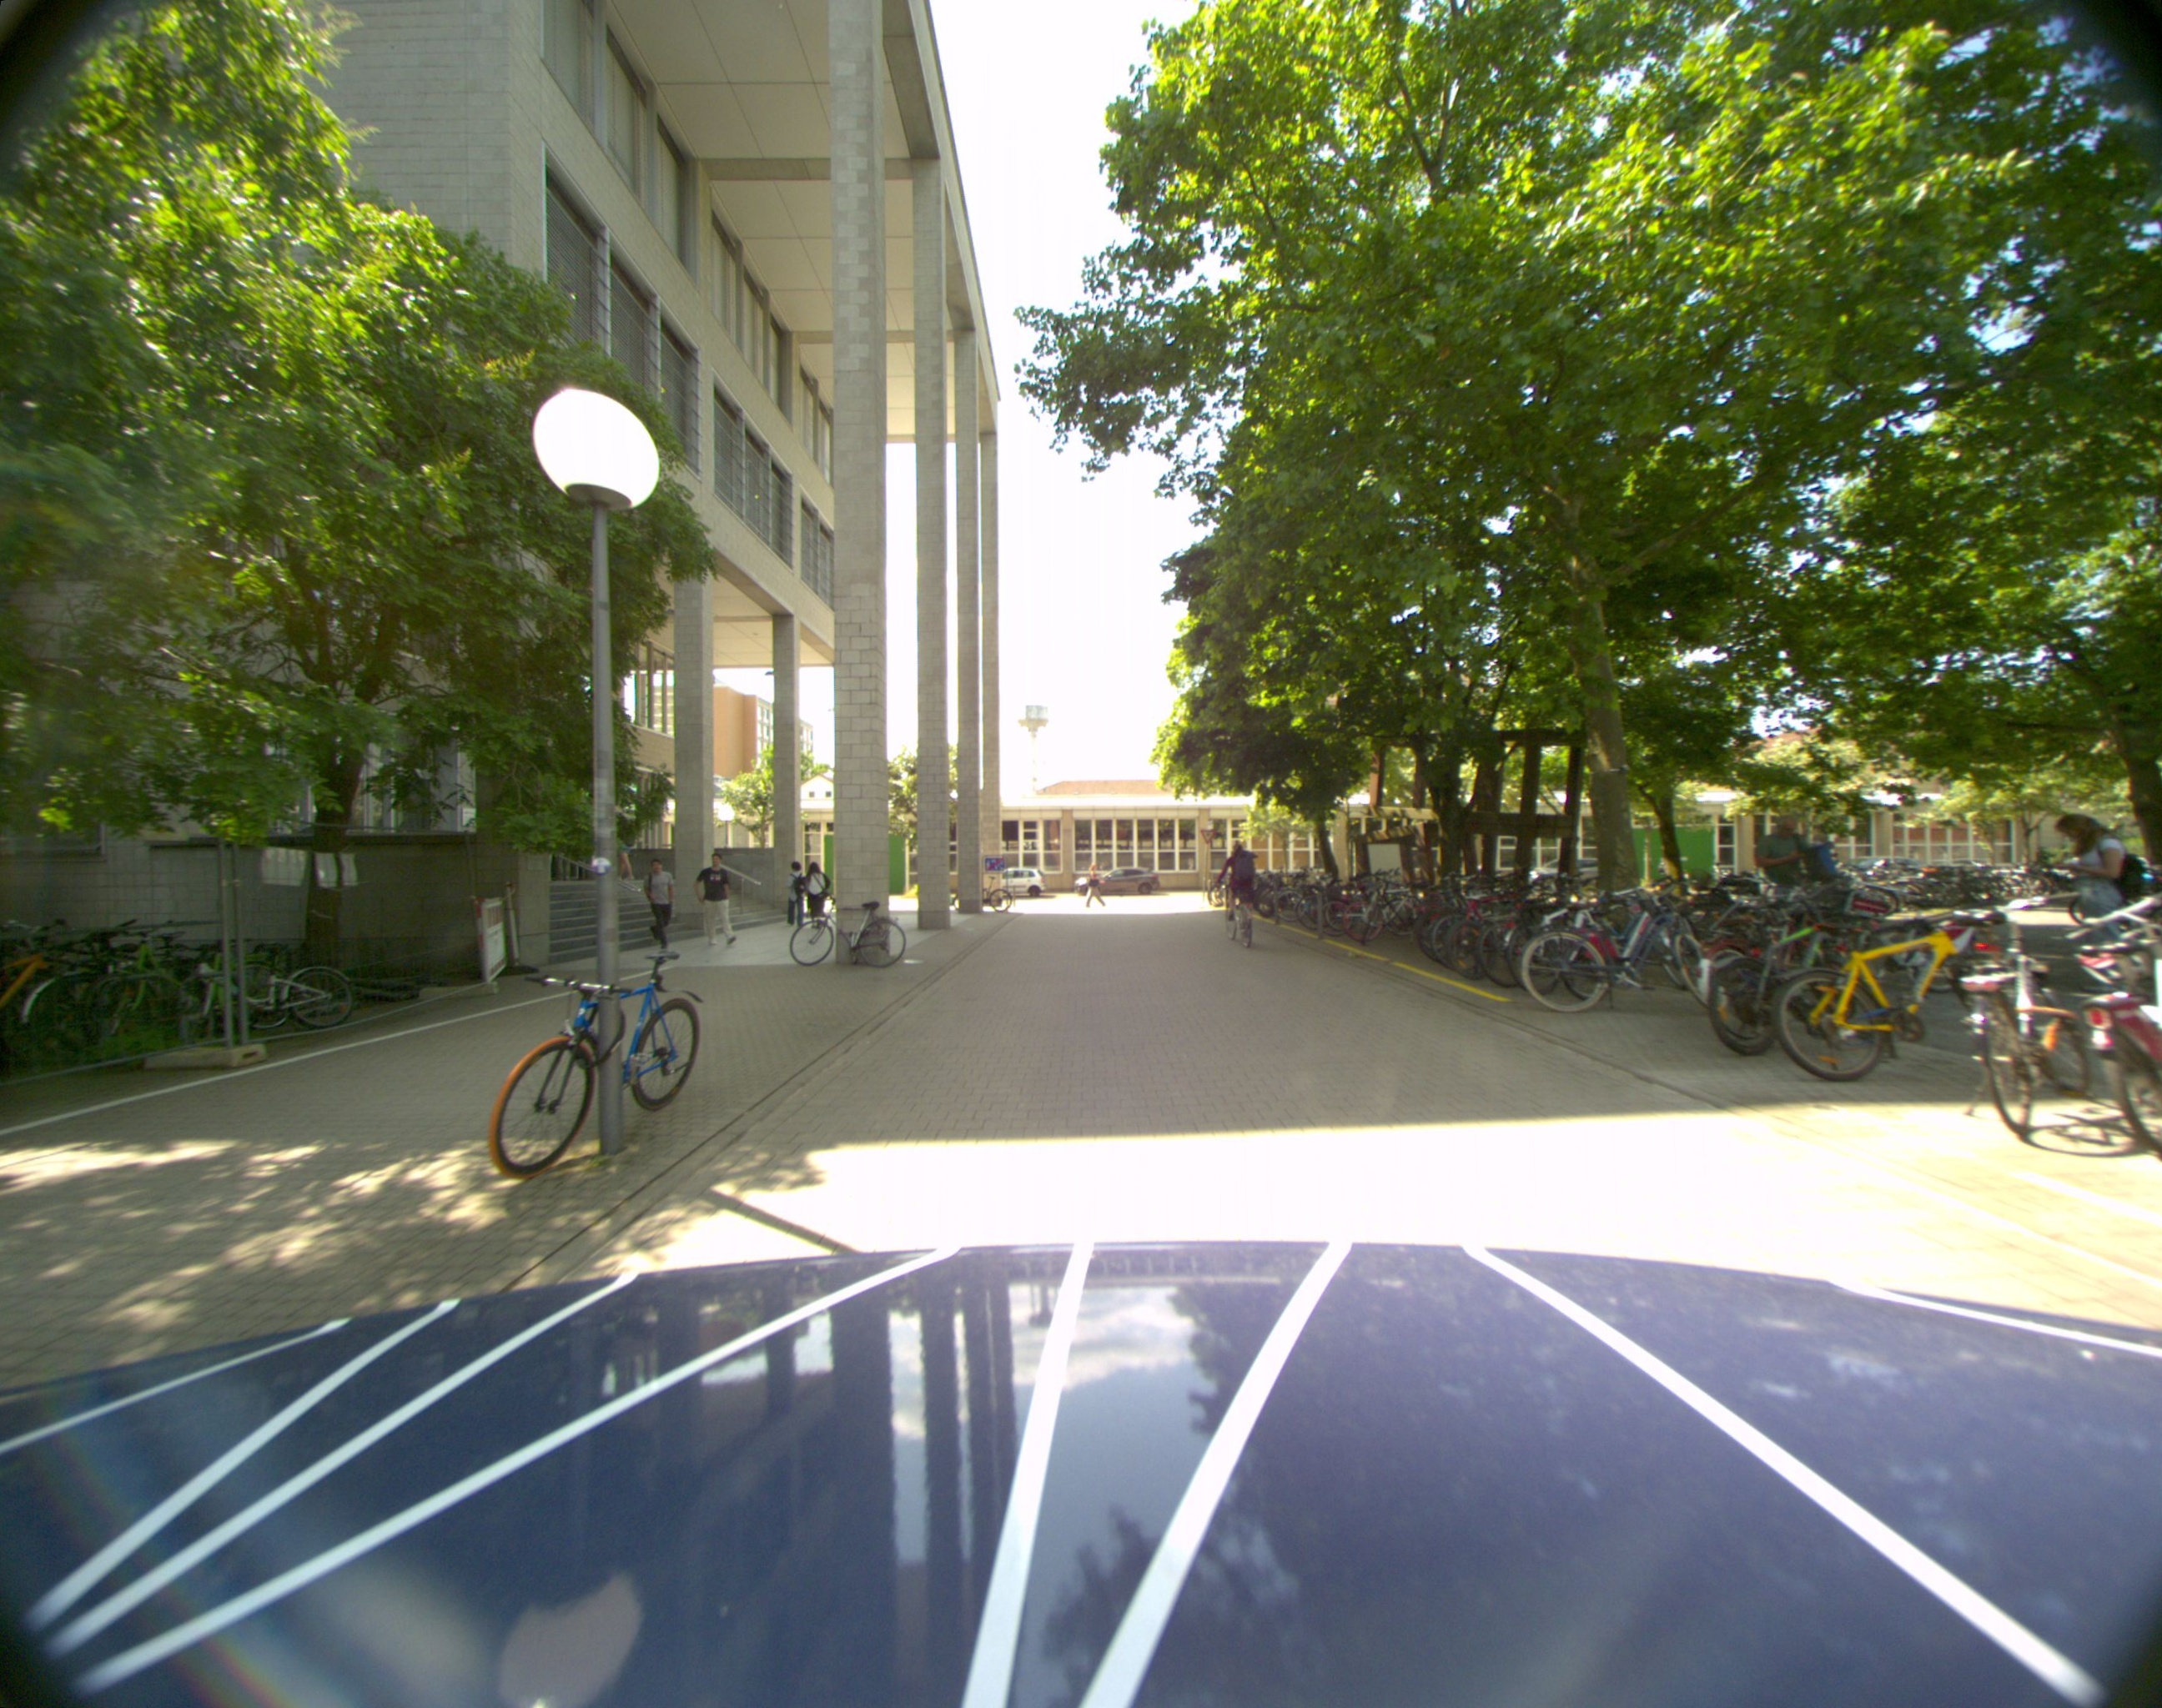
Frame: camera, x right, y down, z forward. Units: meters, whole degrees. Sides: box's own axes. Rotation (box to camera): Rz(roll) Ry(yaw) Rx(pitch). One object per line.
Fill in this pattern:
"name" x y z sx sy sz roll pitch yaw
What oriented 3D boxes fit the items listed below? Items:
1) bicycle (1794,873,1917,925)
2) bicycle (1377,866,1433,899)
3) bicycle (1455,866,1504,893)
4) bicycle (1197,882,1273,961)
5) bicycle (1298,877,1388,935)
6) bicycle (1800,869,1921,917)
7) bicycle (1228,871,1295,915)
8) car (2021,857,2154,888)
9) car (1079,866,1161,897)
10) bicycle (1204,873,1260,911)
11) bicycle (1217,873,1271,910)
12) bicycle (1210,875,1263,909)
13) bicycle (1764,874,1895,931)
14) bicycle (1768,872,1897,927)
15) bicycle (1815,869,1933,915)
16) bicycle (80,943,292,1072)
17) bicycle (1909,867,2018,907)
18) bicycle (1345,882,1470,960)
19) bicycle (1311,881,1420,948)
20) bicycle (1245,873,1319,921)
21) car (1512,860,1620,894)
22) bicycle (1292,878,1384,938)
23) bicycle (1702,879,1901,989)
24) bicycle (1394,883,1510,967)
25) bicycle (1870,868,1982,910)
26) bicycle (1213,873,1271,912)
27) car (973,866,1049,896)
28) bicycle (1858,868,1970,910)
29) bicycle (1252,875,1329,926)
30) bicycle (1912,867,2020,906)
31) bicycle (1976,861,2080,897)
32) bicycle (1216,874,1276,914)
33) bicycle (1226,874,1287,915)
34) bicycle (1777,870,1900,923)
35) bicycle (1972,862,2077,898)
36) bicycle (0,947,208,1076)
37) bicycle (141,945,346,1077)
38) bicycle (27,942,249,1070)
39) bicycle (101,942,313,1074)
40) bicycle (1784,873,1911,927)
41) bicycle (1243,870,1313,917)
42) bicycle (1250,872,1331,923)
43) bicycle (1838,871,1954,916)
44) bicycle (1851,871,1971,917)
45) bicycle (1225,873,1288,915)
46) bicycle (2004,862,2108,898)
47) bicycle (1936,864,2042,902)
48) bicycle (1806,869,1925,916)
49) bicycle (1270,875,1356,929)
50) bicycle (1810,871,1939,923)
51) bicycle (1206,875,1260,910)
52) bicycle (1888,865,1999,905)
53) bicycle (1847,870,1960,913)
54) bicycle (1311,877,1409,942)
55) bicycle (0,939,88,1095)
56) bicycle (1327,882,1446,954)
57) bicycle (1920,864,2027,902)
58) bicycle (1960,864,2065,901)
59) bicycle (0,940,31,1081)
"bicycle" 17.768 1.001 17.484 0.503 1.101 1.902 -2 0 -30
"bicycle" 11.421 0.989 26.782 1.839 1.101 0.393 -2 0 -6
"bicycle" 17.348 1.104 33.104 1.829 1.102 0.605 0 2 2
"bicycle" 2.581 1.092 12.977 0.773 1.143 2.108 -2 0 -2
"bicycle" 5.196 1.043 15.162 1.627 1.101 0.563 -2 0 14
"bicycle" 19.016 0.920 18.589 0.503 1.101 2.001 -2 0 -30
"bicycle" 4.804 1.027 20.312 1.628 1.101 0.691 -2 0 5
"car" 52.220 0.945 39.476 4.536 1.532 1.838 -1 -1 -2
"car" 2.018 1.419 39.877 4.208 1.467 1.653 -1 1 0
"bicycle" 4.608 1.169 23.286 1.628 1.101 0.497 -2 0 5
"bicycle" 5.094 1.176 23.758 1.627 1.101 0.498 -1 -2 12
"bicycle" 5.194 1.262 25.429 1.628 1.101 0.497 -1 -2 0
"bicycle" 15.794 0.986 16.085 0.503 1.101 1.902 -2 0 -33
"bicycle" 16.209 0.952 16.443 0.503 1.101 1.902 -2 0 -33
"bicycle" 20.145 0.936 19.348 0.503 1.101 2.001 -2 0 -30
"bicycle" -8.119 1.347 6.979 0.291 0.900 1.448 -1 0 -3
"bicycle" 25.818 0.939 22.275 0.503 1.101 2.026 -2 0 -27
"bicycle" 5.084 1.027 11.869 1.740 1.119 0.497 -2 0 -4
"bicycle" 4.973 1.050 13.363 1.737 1.101 0.575 -2 0 19
"bicycle" 4.944 1.047 18.759 1.629 1.101 0.645 -2 0 -5
"car" 25.352 1.179 39.826 4.536 1.608 1.838 -1 1 -2
"bicycle" 4.916 1.042 14.628 1.627 1.101 0.497 -2 0 14
"bicycle" 8.760 0.916 9.302 0.577 1.192 1.695 -2 0 -39
"bicycle" 5.483 1.018 11.215 1.742 1.101 0.496 -2 0 -23
"bicycle" 23.670 0.966 21.329 0.503 1.101 2.026 -2 0 -27
"bicycle" 4.805 1.146 22.715 1.628 1.101 0.497 -2 0 5
"car" -3.621 1.397 39.769 3.776 1.467 1.653 0 1 0
"bicycle" 23.149 0.950 21.161 0.503 1.101 2.026 -2 0 -27
"bicycle" 4.858 1.060 17.629 1.629 1.101 0.497 -2 0 -5
"bicycle" 26.484 0.944 22.788 0.503 1.101 2.026 -2 0 -27
"bicycle" 30.449 0.794 24.460 0.503 1.101 2.026 -2 0 -27
"bicycle" 4.802 1.151 22.151 1.628 1.101 0.629 -2 0 5
"bicycle" 4.973 1.141 21.580 1.628 1.101 0.506 -2 0 5
"bicycle" 17.156 0.934 17.258 0.503 1.101 1.902 -2 0 -30
"bicycle" 29.988 0.802 24.201 0.503 1.101 2.026 -2 0 -27
"bicycle" -8.989 1.388 6.992 0.291 0.900 1.448 -1 0 -3
"bicycle" -7.430 1.346 6.829 0.291 0.900 1.448 -1 0 -3
"bicycle" -8.581 1.336 6.998 0.291 0.900 1.448 -1 0 -3
"bicycle" -7.769 1.323 6.840 0.291 0.900 1.448 -1 0 -3
"bicycle" 16.829 0.982 16.737 0.503 1.101 1.902 -2 0 -30
"bicycle" 5.051 1.005 19.526 1.628 1.144 0.497 -2 0 1
"bicycle" 4.988 1.025 18.123 1.784 1.155 0.497 -2 0 -5
"bicycle" 21.604 1.021 20.193 0.503 1.101 2.025 -2 0 -32
"bicycle" 21.355 1.012 19.593 0.503 1.101 2.025 -2 0 -32
"bicycle" 4.852 1.093 21.033 1.628 1.101 0.497 -2 0 5
"bicycle" 31.685 0.832 24.742 0.503 1.101 2.027 -2 0 -18
"bicycle" 27.963 0.872 23.452 0.503 1.101 2.026 -2 0 -27
"bicycle" 19.621 0.932 19.060 0.503 1.101 2.001 -2 0 -30
"bicycle" 5.057 1.049 16.667 1.724 1.101 0.720 -2 0 11
"bicycle" 18.324 0.964 17.603 0.503 1.101 2.001 -2 0 -30
"bicycle" 4.885 1.230 24.536 1.628 1.101 0.497 -1 -2 0
"bicycle" 24.742 0.870 21.848 0.503 1.101 2.026 -2 0 -27
"bicycle" 22.258 0.993 20.608 0.503 1.101 2.025 -2 0 -32
"bicycle" 5.118 1.021 14.015 1.627 1.137 0.497 -2 0 14
"bicycle" -8.242 1.247 5.484 0.291 1.121 1.448 -1 0 -3
"bicycle" 5.001 1.039 12.490 1.739 1.101 0.497 -2 0 0
"bicycle" 27.048 0.860 23.072 0.503 1.101 2.026 -2 0 -27
"bicycle" 29.362 0.875 23.991 0.503 1.101 2.026 -2 0 -27
"bicycle" -8.635 1.236 5.434 0.291 1.087 1.448 -1 0 -3
